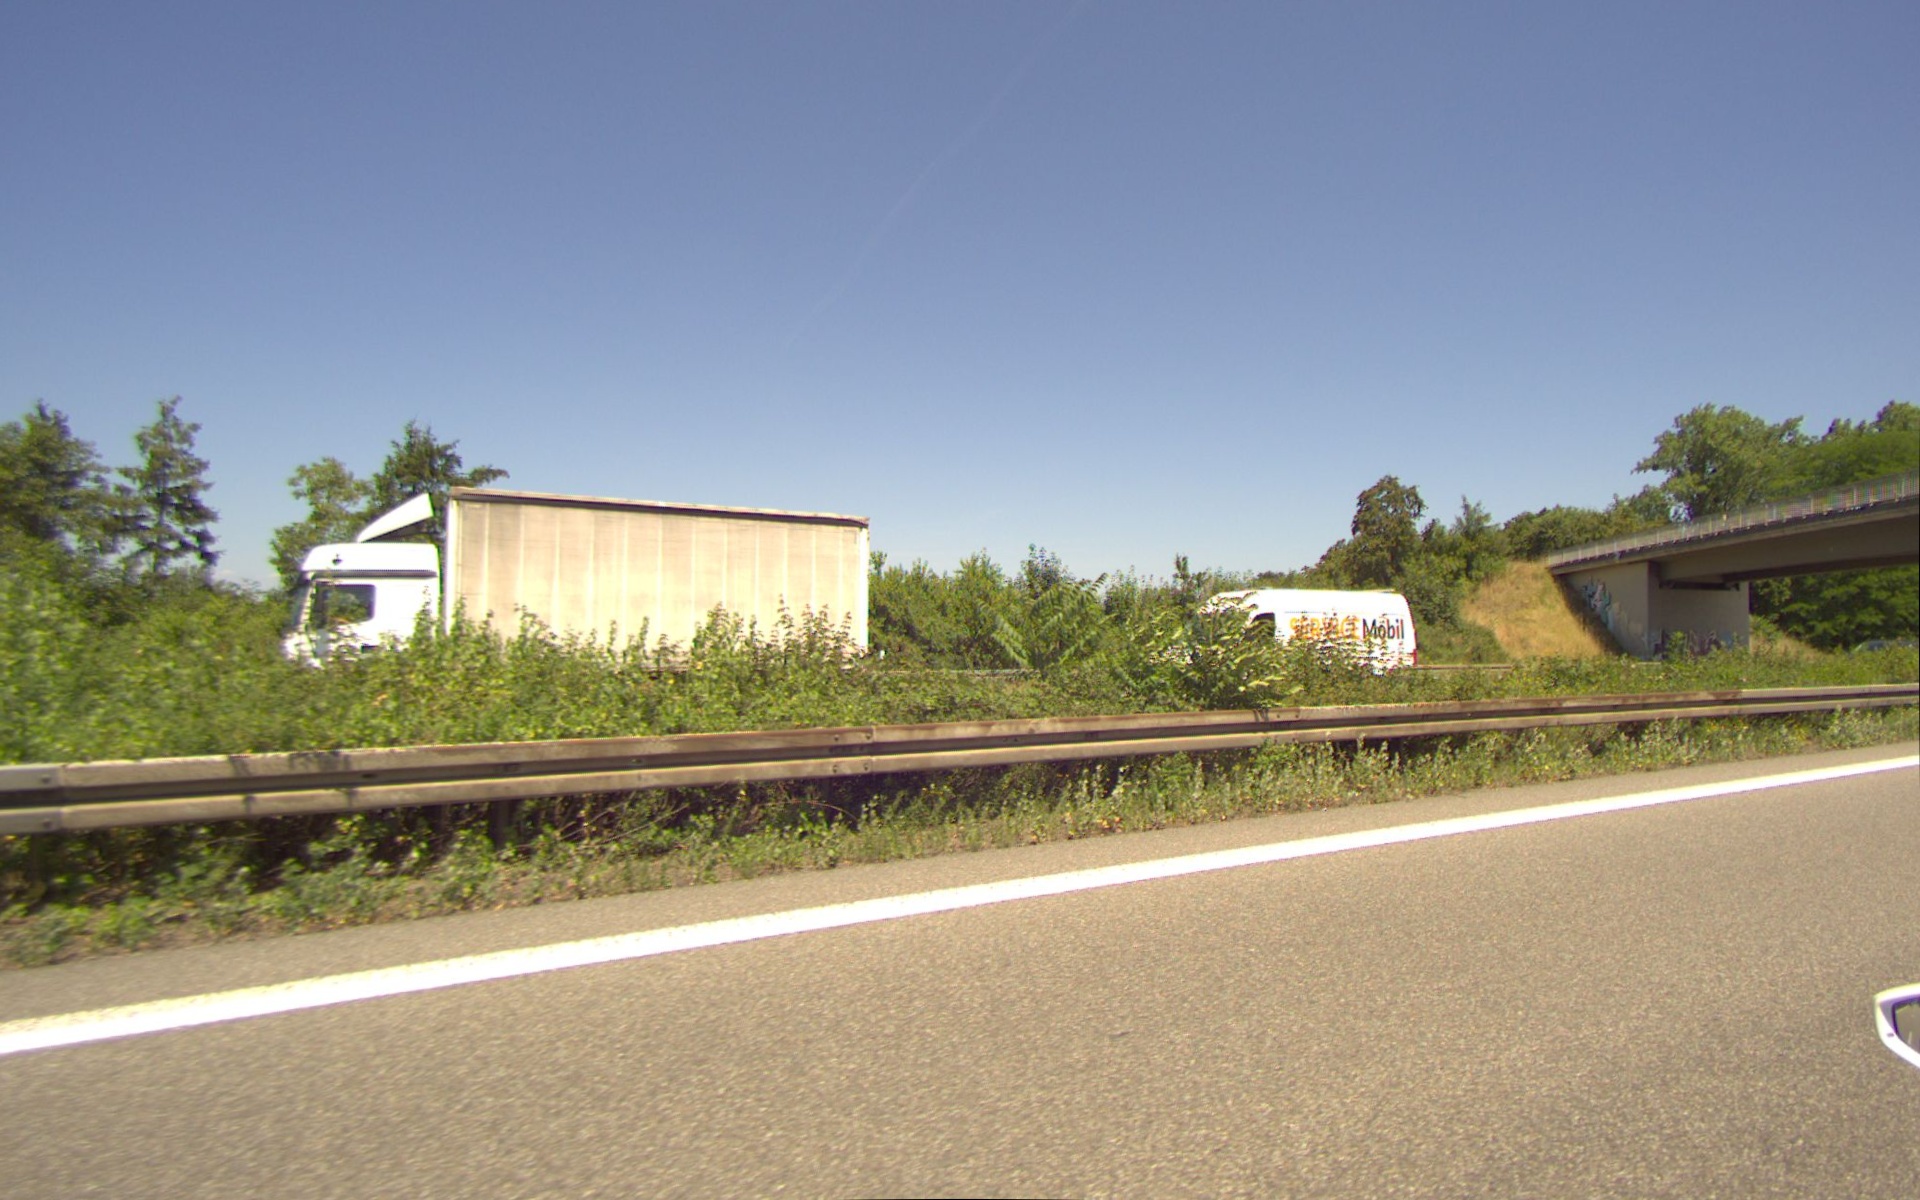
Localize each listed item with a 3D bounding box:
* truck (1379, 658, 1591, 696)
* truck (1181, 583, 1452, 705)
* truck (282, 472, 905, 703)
[{"bbox_3d":[13.108,1.886,25.037,5.155,0.695,2.259,2,0,-29],"label":"truck"},{"bbox_3d":[8.018,0.931,22.333,6.341,2.431,1.985,1,0,-29],"label":"truck"},{"bbox_3d":[-6.463,-0.087,19.328,10.605,3.544,2.864,1,0,-29],"label":"truck"}]
